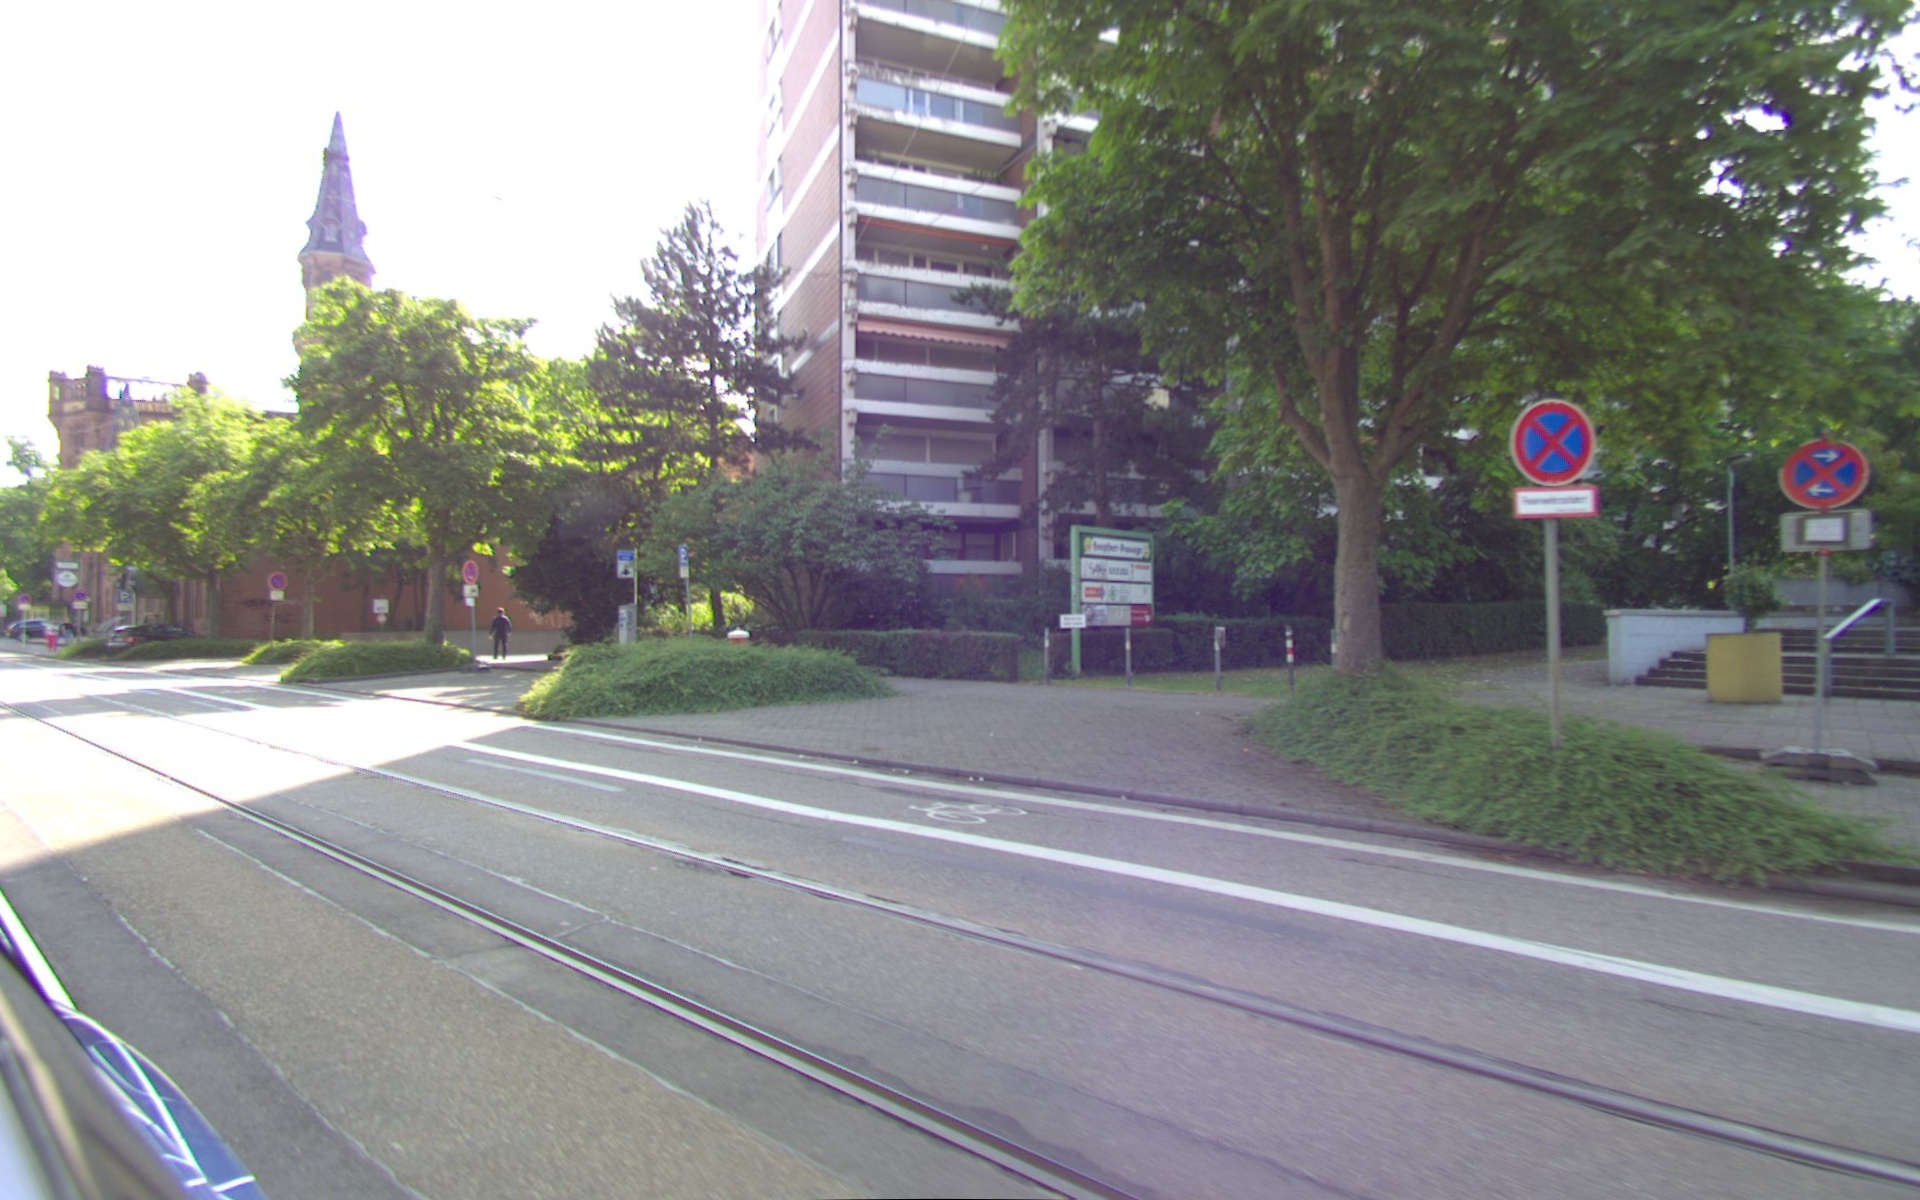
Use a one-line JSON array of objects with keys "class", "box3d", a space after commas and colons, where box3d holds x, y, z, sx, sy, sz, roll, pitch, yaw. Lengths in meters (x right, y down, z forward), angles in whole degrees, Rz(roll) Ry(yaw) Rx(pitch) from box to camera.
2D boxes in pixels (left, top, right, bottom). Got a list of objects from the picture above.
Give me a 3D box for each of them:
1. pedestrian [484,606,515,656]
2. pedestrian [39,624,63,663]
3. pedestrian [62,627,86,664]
[{"class": "pedestrian", "box3d": [-15.378, 1.025, 33.814, 0.754, 1.642, 0.739, -1, -1, -40]}, {"class": "pedestrian", "box3d": [-49.639, 2.368, 55.269, 1.057, 2.029, 0.892, -2, -1, 44]}, {"class": "pedestrian", "box3d": [-49.076, 2.520, 56.079, 1.057, 2.029, 0.893, -2, -1, 43]}]
